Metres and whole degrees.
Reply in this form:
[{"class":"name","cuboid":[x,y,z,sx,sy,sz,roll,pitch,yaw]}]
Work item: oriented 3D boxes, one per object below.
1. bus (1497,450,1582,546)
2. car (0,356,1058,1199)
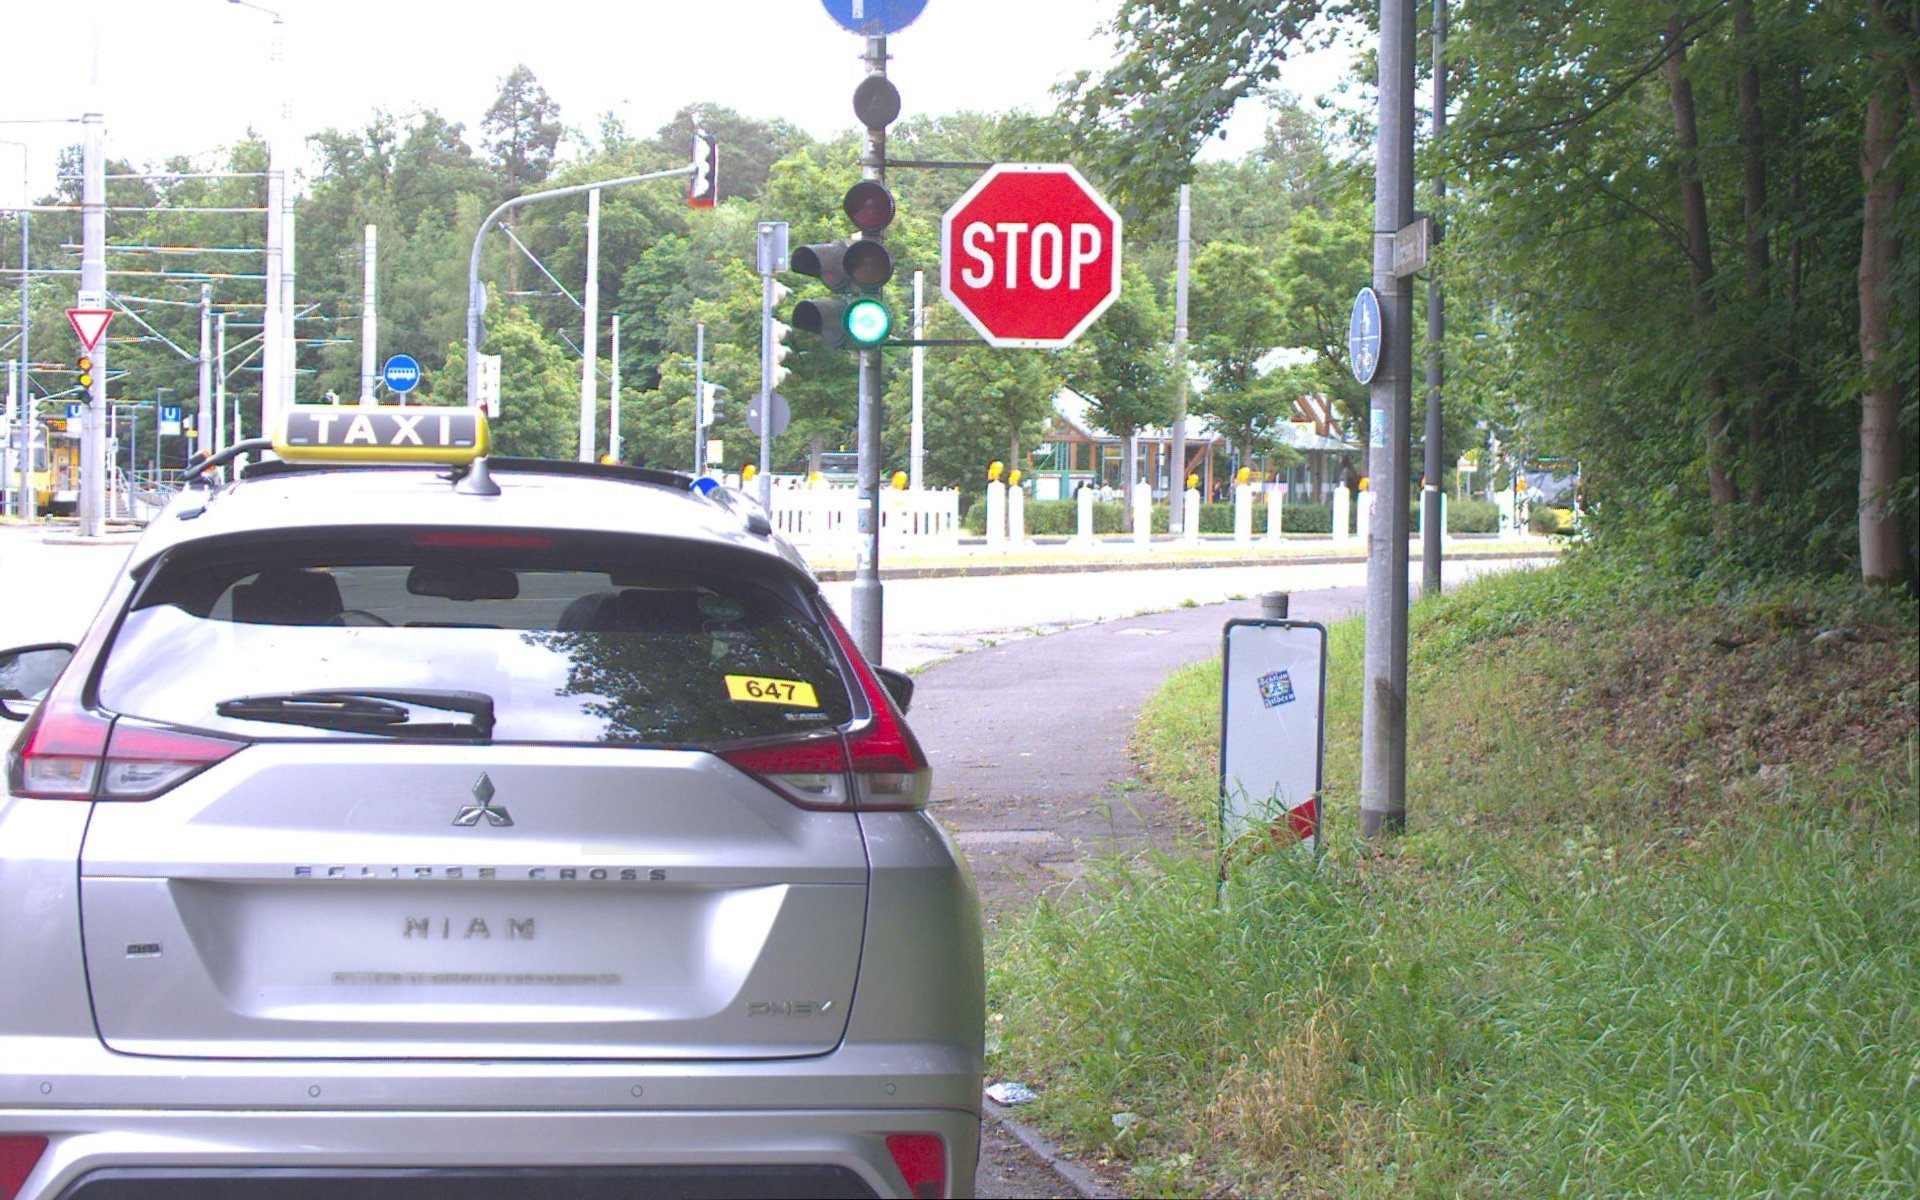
[{"class":"bus","cuboid":[22.836,-4.080,135.888,2.822,3.590,12.801,1,2,8]},{"class":"car","cuboid":[-1.048,0.471,7.062,1.773,1.742,3.782,2,2,-9]}]
